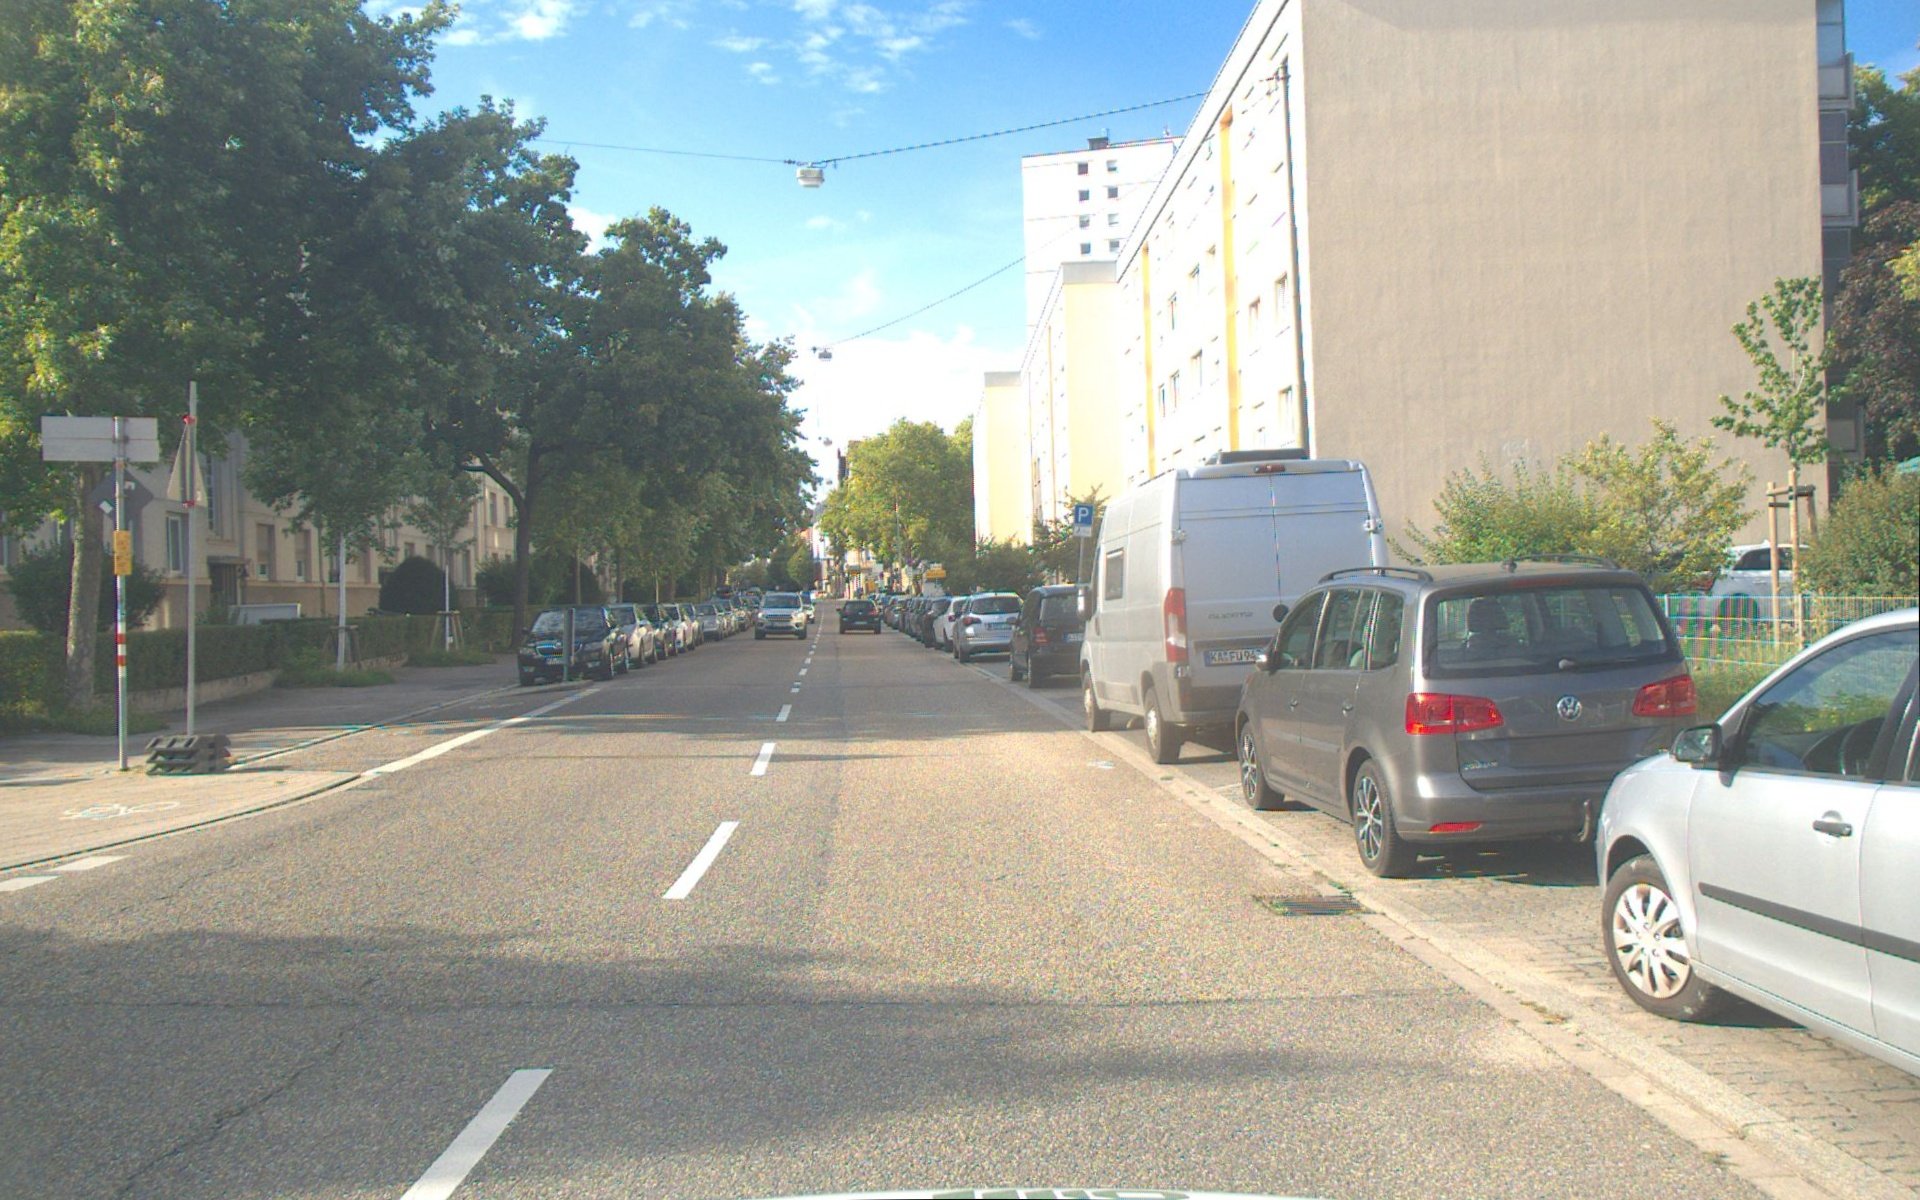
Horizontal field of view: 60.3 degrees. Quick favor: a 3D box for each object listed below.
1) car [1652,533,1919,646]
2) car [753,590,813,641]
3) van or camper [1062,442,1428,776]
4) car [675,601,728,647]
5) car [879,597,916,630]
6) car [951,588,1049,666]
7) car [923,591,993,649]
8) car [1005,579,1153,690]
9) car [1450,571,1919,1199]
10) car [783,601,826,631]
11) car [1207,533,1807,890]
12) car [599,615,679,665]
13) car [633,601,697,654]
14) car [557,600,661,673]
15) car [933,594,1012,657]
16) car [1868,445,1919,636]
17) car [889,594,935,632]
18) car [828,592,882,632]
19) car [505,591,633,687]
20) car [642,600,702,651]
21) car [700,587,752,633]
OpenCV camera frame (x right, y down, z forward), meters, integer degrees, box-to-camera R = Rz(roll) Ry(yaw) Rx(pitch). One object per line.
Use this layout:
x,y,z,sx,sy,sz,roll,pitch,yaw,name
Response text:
13.634,-0.180,26.884,3.903,1.612,2.001,-3,0,4,car
-6.472,0.557,60.171,2.017,1.692,3.920,-3,0,-7,car
2.526,0.057,16.303,2.166,2.652,5.366,-3,0,-5,van or camper
-9.708,0.870,62.327,1.773,1.588,3.428,-3,0,-7,car
-3.537,0.732,93.483,1.953,1.713,3.998,-3,0,-2,car
0.846,0.579,37.749,1.953,1.601,3.998,-3,0,-2,car
-0.099,0.572,50.265,1.953,1.601,3.998,-3,0,-2,car
1.858,0.515,27.114,1.953,1.601,3.998,-3,0,-2,car
3.243,0.668,5.083,1.974,1.500,4.802,-3,0,0,car
-8.719,0.853,92.526,1.958,1.598,3.988,-1,0,-12,car
3.018,0.531,10.278,1.954,1.644,4.404,-3,0,-4,car
-8.335,1.011,43.243,1.773,1.135,3.585,-3,0,-7,car
-8.635,0.783,48.653,1.606,1.414,3.428,-3,0,-7,car
-7.951,0.792,37.785,1.956,1.476,3.898,-3,0,-7,car
0.306,0.667,45.513,1.953,1.556,3.998,-3,0,-2,car
13.228,-0.784,19.354,4.034,2.224,2.001,-3,0,2,car
-2.202,0.580,75.248,1.953,1.601,3.998,-3,0,-2,car
-4.455,0.494,69.708,1.956,1.598,3.993,-1,0,-8,car
-7.584,0.724,32.428,1.956,1.668,3.993,-3,0,-7,car
-9.741,0.846,56.057,1.773,1.588,3.428,-3,0,-7,car
-11.124,0.476,78.945,1.953,2.048,3.998,-3,0,-2,car
